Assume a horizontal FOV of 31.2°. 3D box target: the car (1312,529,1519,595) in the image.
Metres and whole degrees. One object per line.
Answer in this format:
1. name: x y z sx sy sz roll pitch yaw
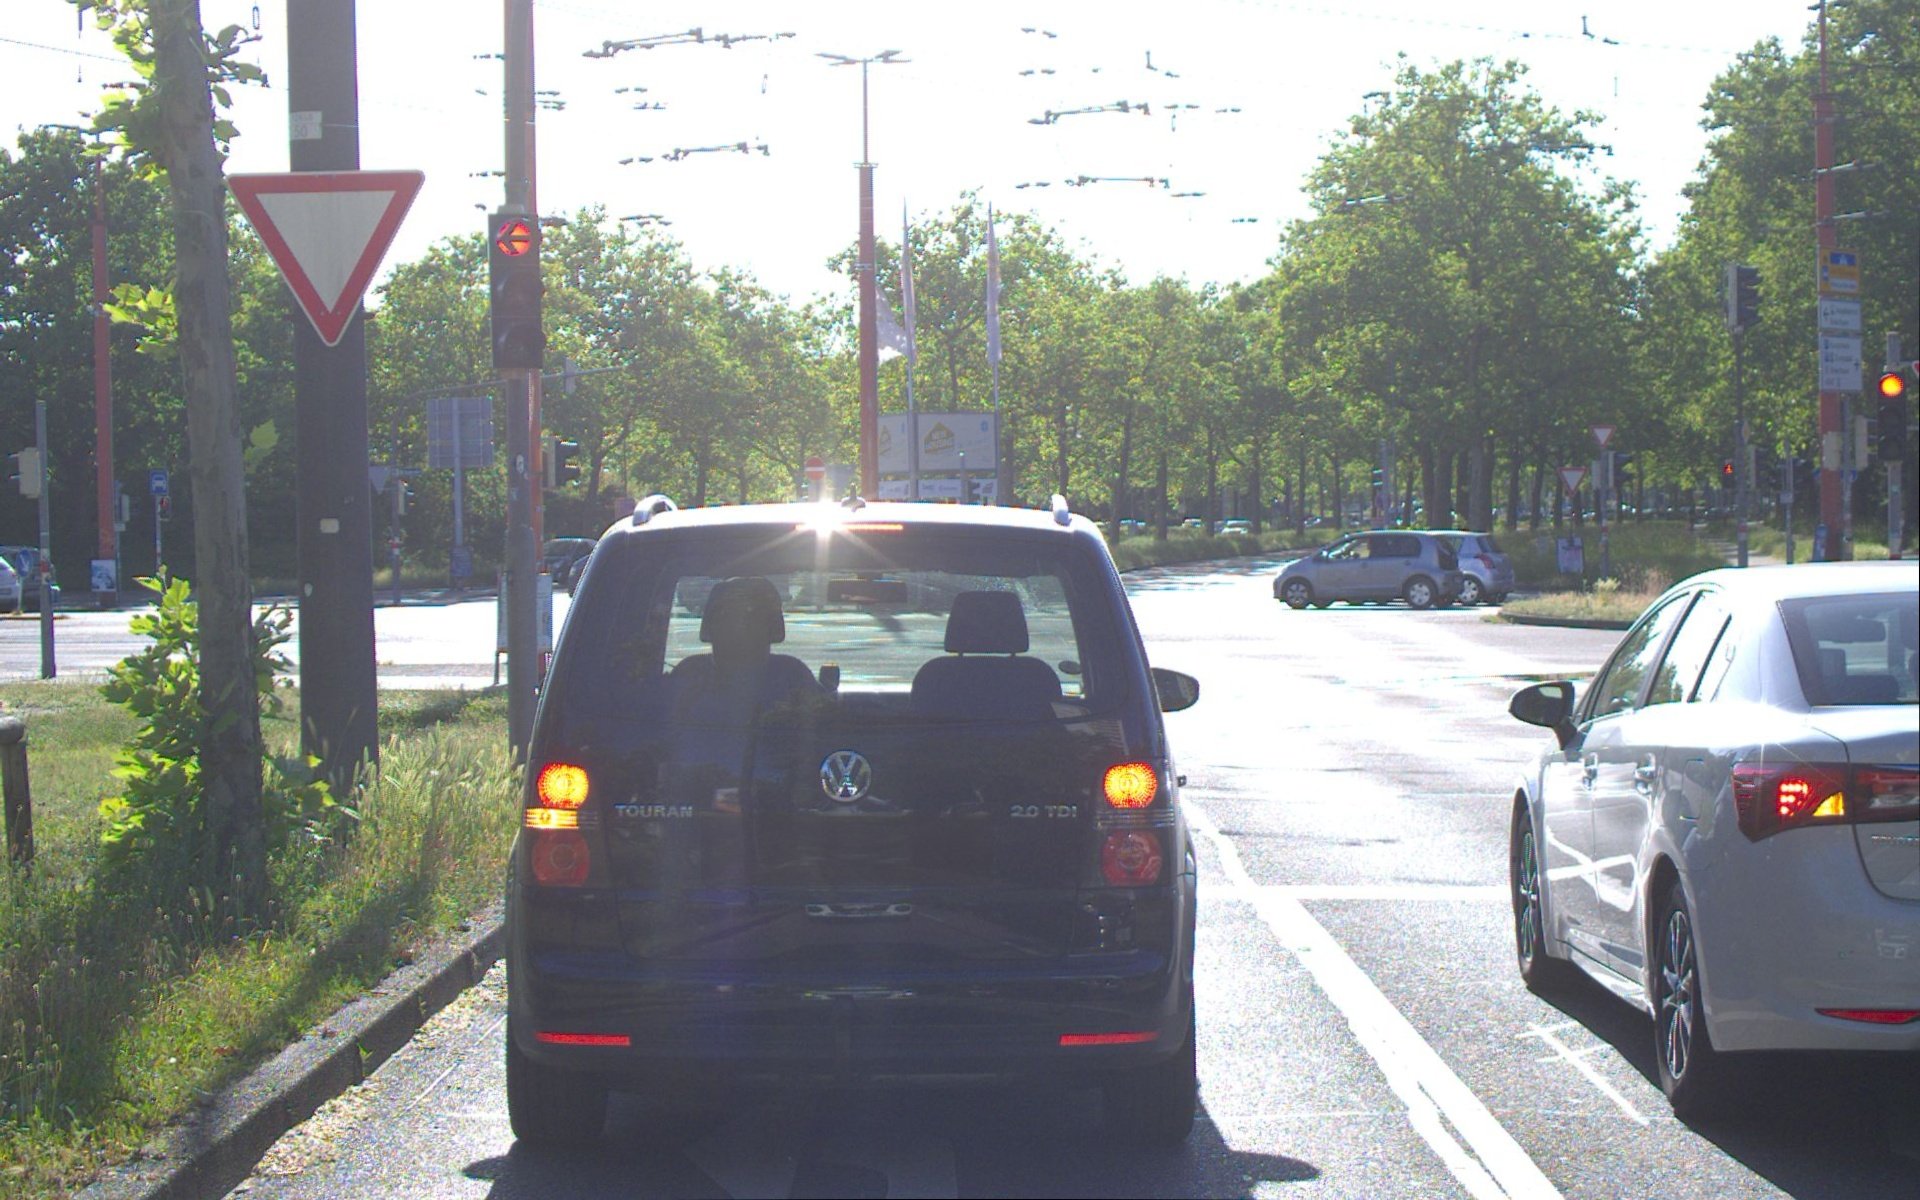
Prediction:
1. car: 9.212 -0.768 69.518 3.833 1.260 1.601 1 1 23

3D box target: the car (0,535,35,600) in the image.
1. car: -24.079 -0.772 81.724 3.824 1.517 1.693 0 1 25

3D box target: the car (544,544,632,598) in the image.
1. car: -11.780 -0.916 109.019 1.915 1.630 3.999 1 1 7

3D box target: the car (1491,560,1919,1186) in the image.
1. car: 2.717 0.620 10.100 1.720 1.433 4.198 1 1 1

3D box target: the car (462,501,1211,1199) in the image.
1. car: -0.310 0.551 9.802 1.700 1.616 3.897 0 1 -1

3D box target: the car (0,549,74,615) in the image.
1. car: -24.731 -0.465 87.260 4.125 1.638 1.850 0 1 26

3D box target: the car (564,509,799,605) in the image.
1. car: -5.922 -0.914 73.144 4.576 2.007 1.997 0 1 24

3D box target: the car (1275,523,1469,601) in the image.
1. car: 7.855 -0.718 65.466 3.398 1.452 1.463 0 1 22
